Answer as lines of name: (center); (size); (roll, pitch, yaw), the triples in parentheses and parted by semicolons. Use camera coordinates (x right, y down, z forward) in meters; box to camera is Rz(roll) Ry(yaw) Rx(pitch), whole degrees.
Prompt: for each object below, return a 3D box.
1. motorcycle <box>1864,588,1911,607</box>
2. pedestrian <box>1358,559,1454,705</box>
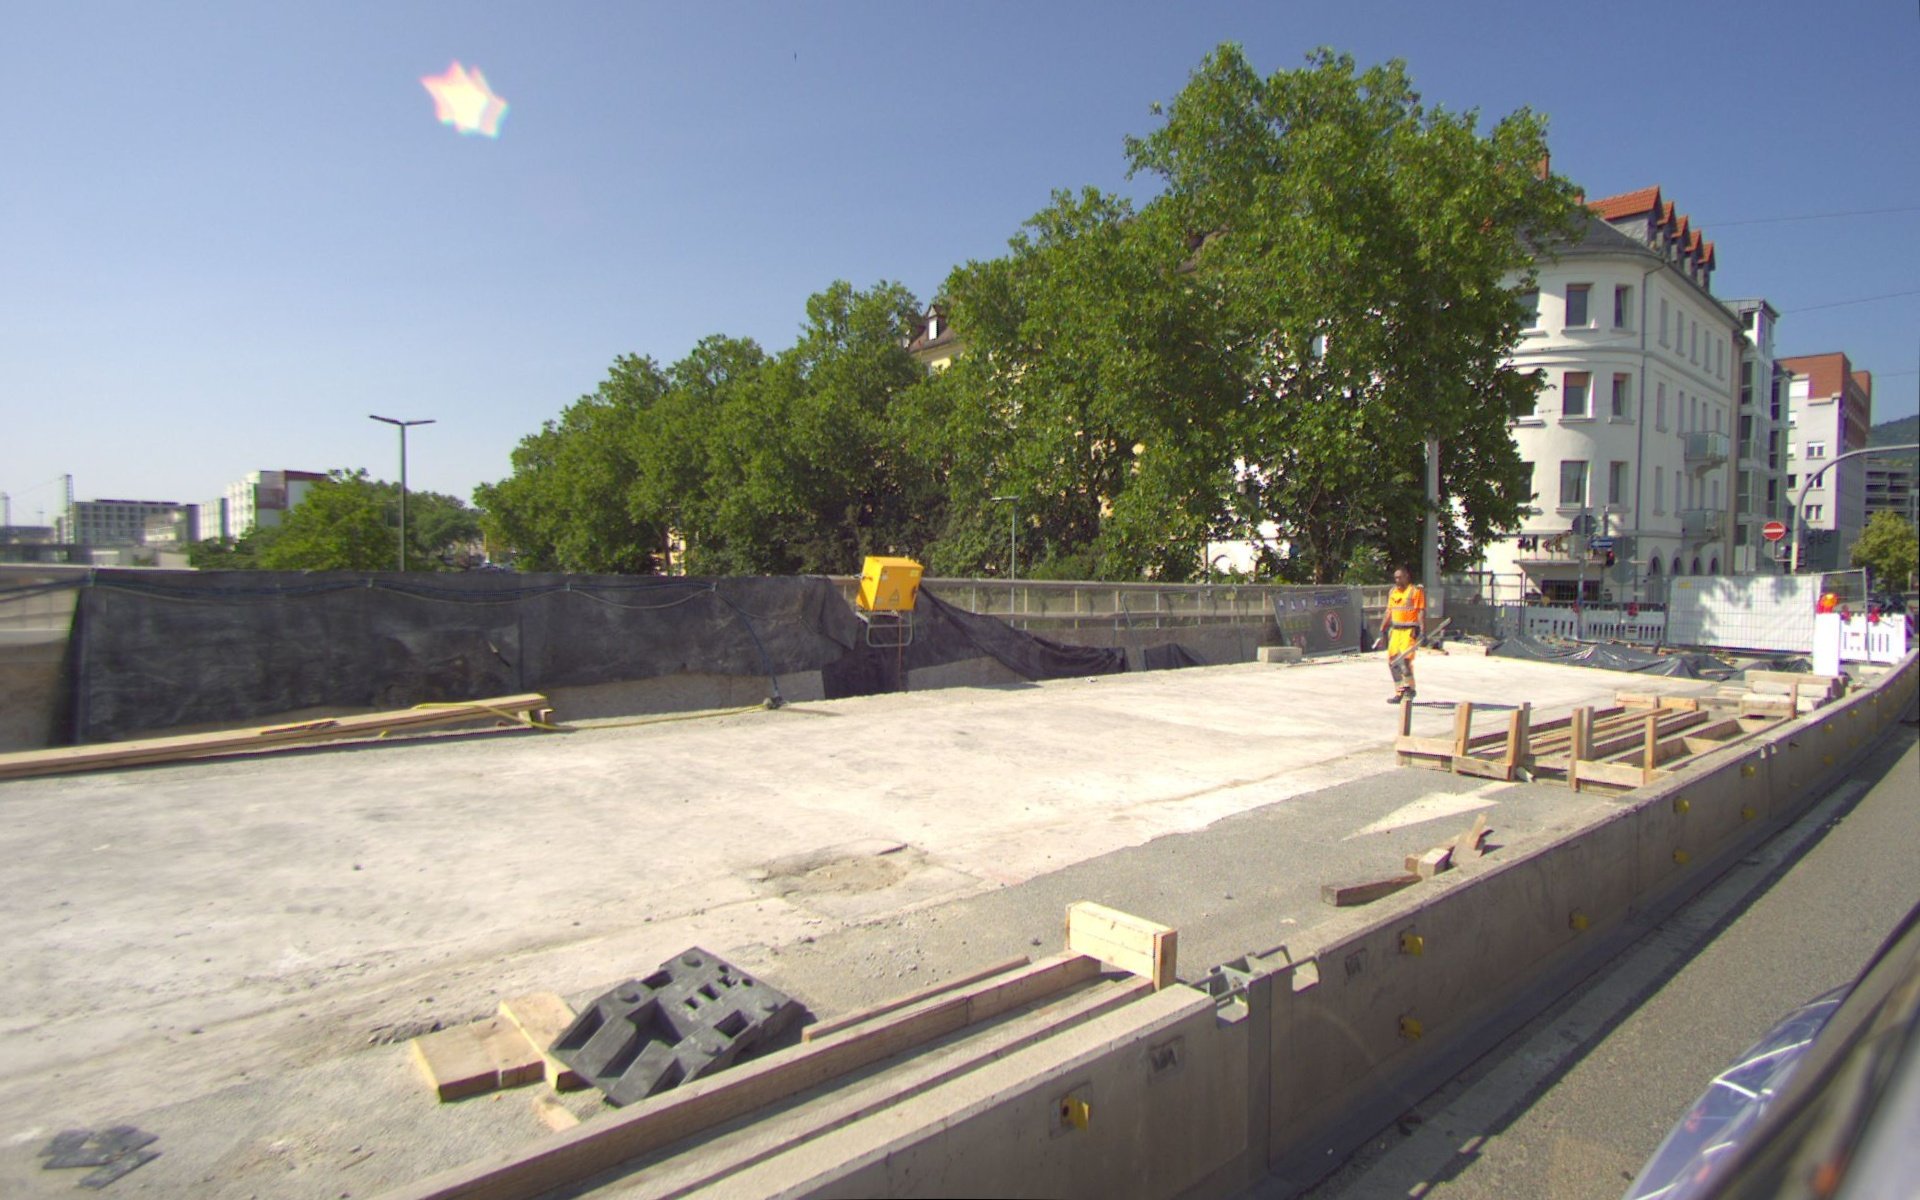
motorcycle: (60.761, -0.198, 66.300); (0.731, 1.180, 2.177); (0, 2, -40)
pedestrian: (5.876, 0.390, 13.340); (0.849, 1.816, 0.821); (0, 3, -42)
